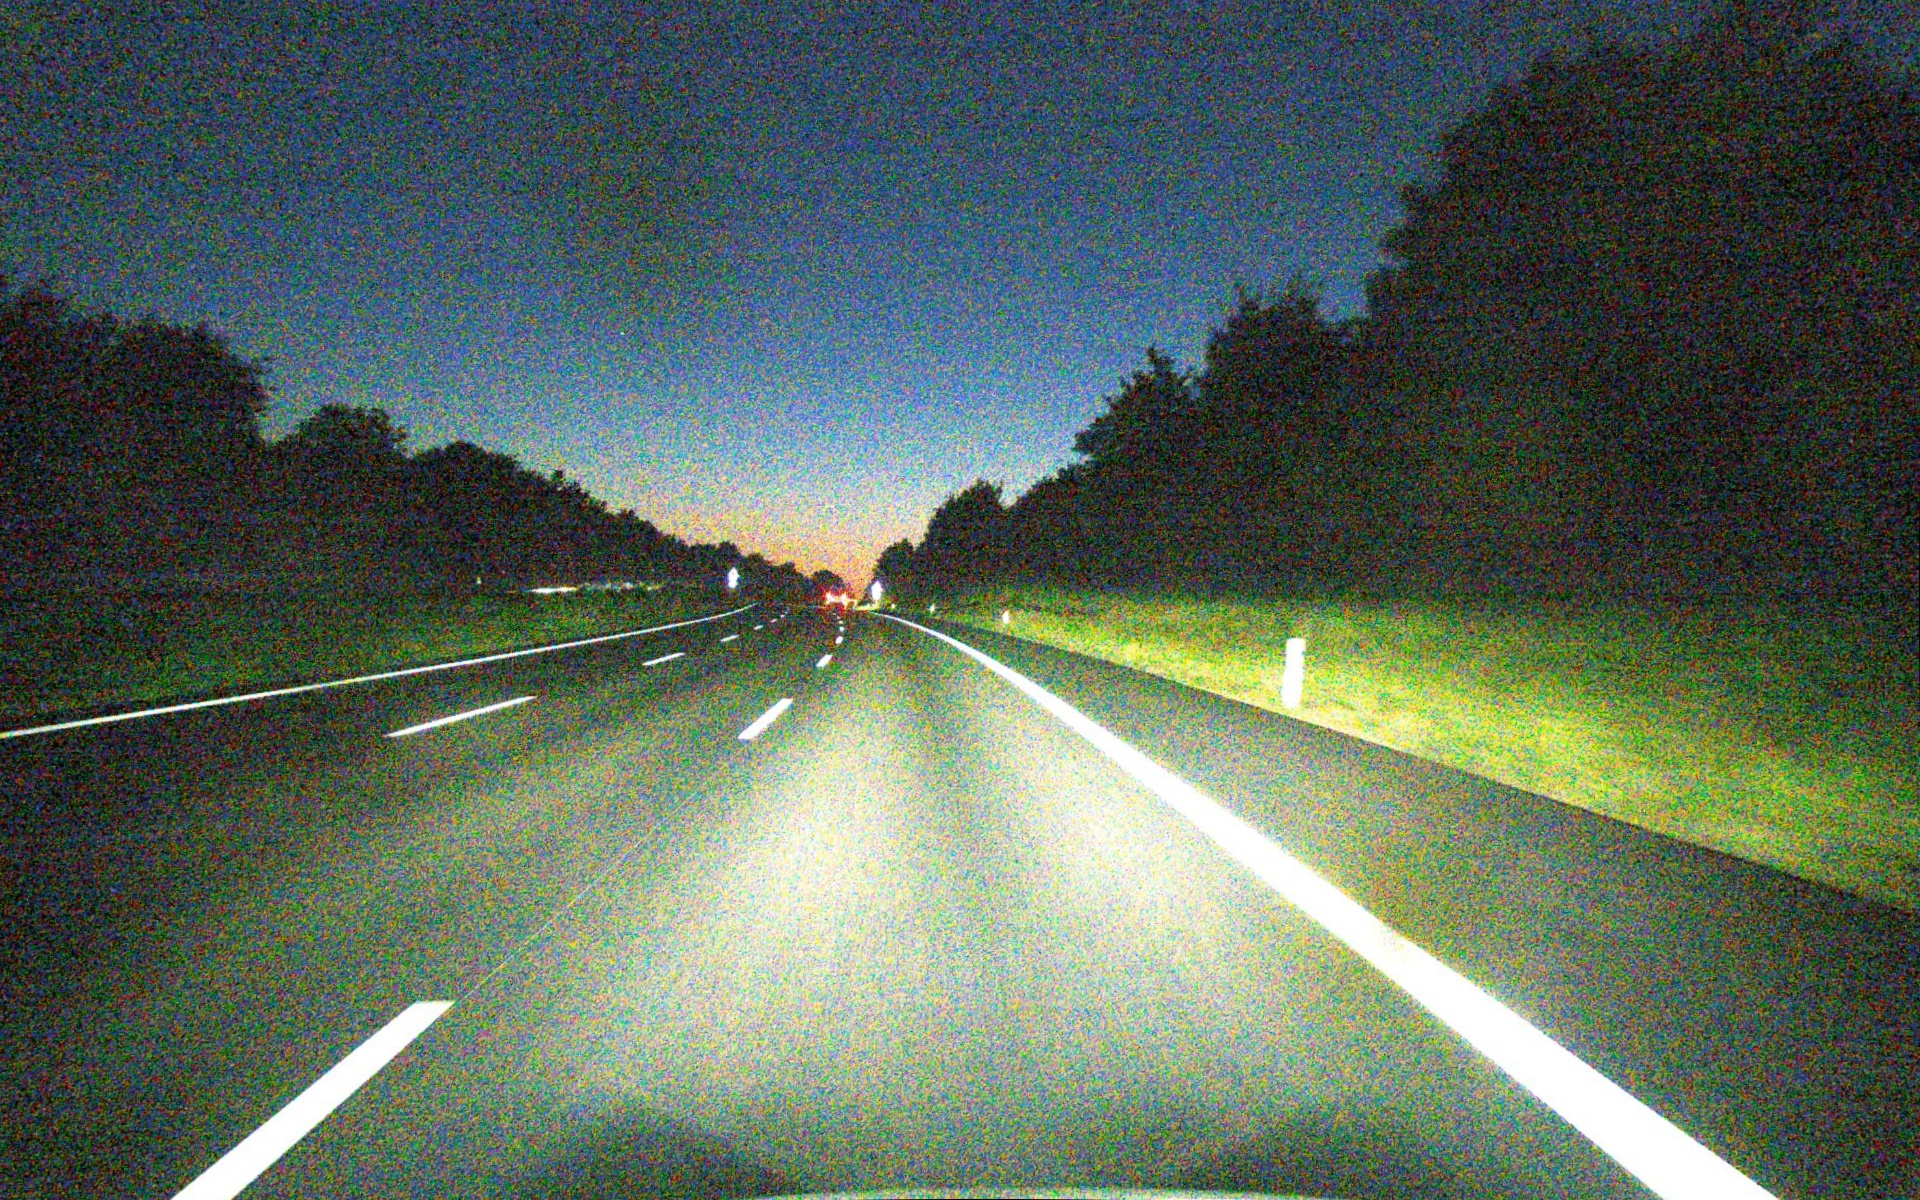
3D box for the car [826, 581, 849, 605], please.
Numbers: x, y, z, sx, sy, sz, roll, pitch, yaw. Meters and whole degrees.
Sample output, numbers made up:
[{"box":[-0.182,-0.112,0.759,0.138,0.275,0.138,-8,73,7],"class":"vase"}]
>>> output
[{"box":[-14.139,-0.746,190.941,2.478,2.597,6.046,3,0,-4],"class":"car"}]
